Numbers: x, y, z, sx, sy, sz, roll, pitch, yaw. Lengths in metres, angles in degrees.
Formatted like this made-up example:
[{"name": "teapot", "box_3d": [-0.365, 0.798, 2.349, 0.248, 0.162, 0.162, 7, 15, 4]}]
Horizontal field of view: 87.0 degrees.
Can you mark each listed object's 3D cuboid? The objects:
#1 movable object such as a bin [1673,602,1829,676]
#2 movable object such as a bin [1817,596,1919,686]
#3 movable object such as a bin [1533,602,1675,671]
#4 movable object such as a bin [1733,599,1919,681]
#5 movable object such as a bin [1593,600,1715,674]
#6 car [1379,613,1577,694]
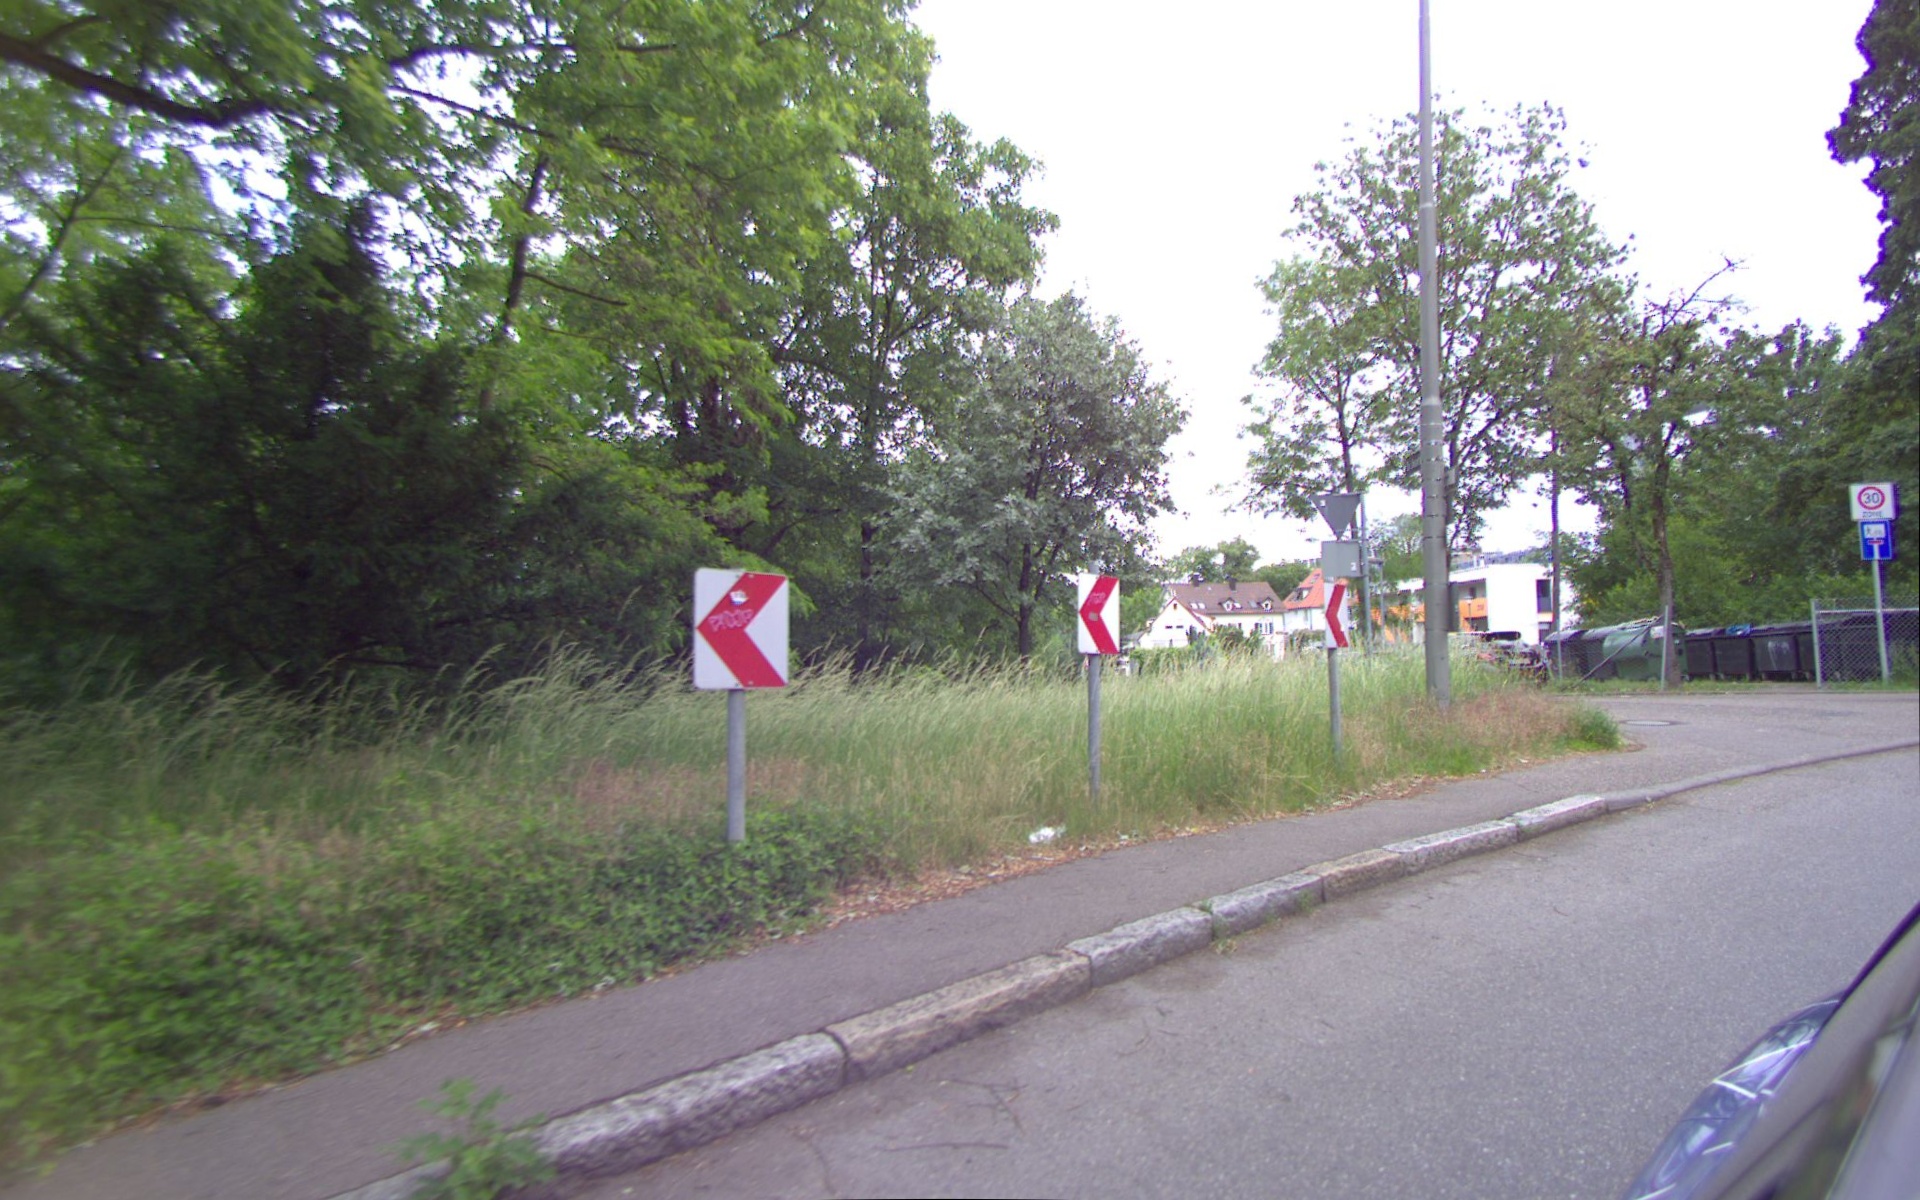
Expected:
[{"name": "movable object such as a bin", "box_3d": [20.511, 1.016, 26.350, 2.165, 1.754, 2.236, -2, -2, -3]}, {"name": "movable object such as a bin", "box_3d": [20.251, 0.823, 21.472, 2.165, 1.810, 2.110, -2, -2, -3]}, {"name": "movable object such as a bin", "box_3d": [15.954, 0.907, 25.230, 1.418, 1.568, 2.899, -2, -2, -6]}, {"name": "movable object such as a bin", "box_3d": [20.425, 0.932, 23.961, 2.165, 1.735, 2.501, -2, -2, -3]}, {"name": "movable object such as a bin", "box_3d": [15.630, 0.826, 22.855, 1.642, 1.568, 1.427, -2, -2, -6]}, {"name": "car", "box_3d": [11.106, 1.226, 22.011, 1.794, 1.417, 3.674, -3, -7, -11]}]
